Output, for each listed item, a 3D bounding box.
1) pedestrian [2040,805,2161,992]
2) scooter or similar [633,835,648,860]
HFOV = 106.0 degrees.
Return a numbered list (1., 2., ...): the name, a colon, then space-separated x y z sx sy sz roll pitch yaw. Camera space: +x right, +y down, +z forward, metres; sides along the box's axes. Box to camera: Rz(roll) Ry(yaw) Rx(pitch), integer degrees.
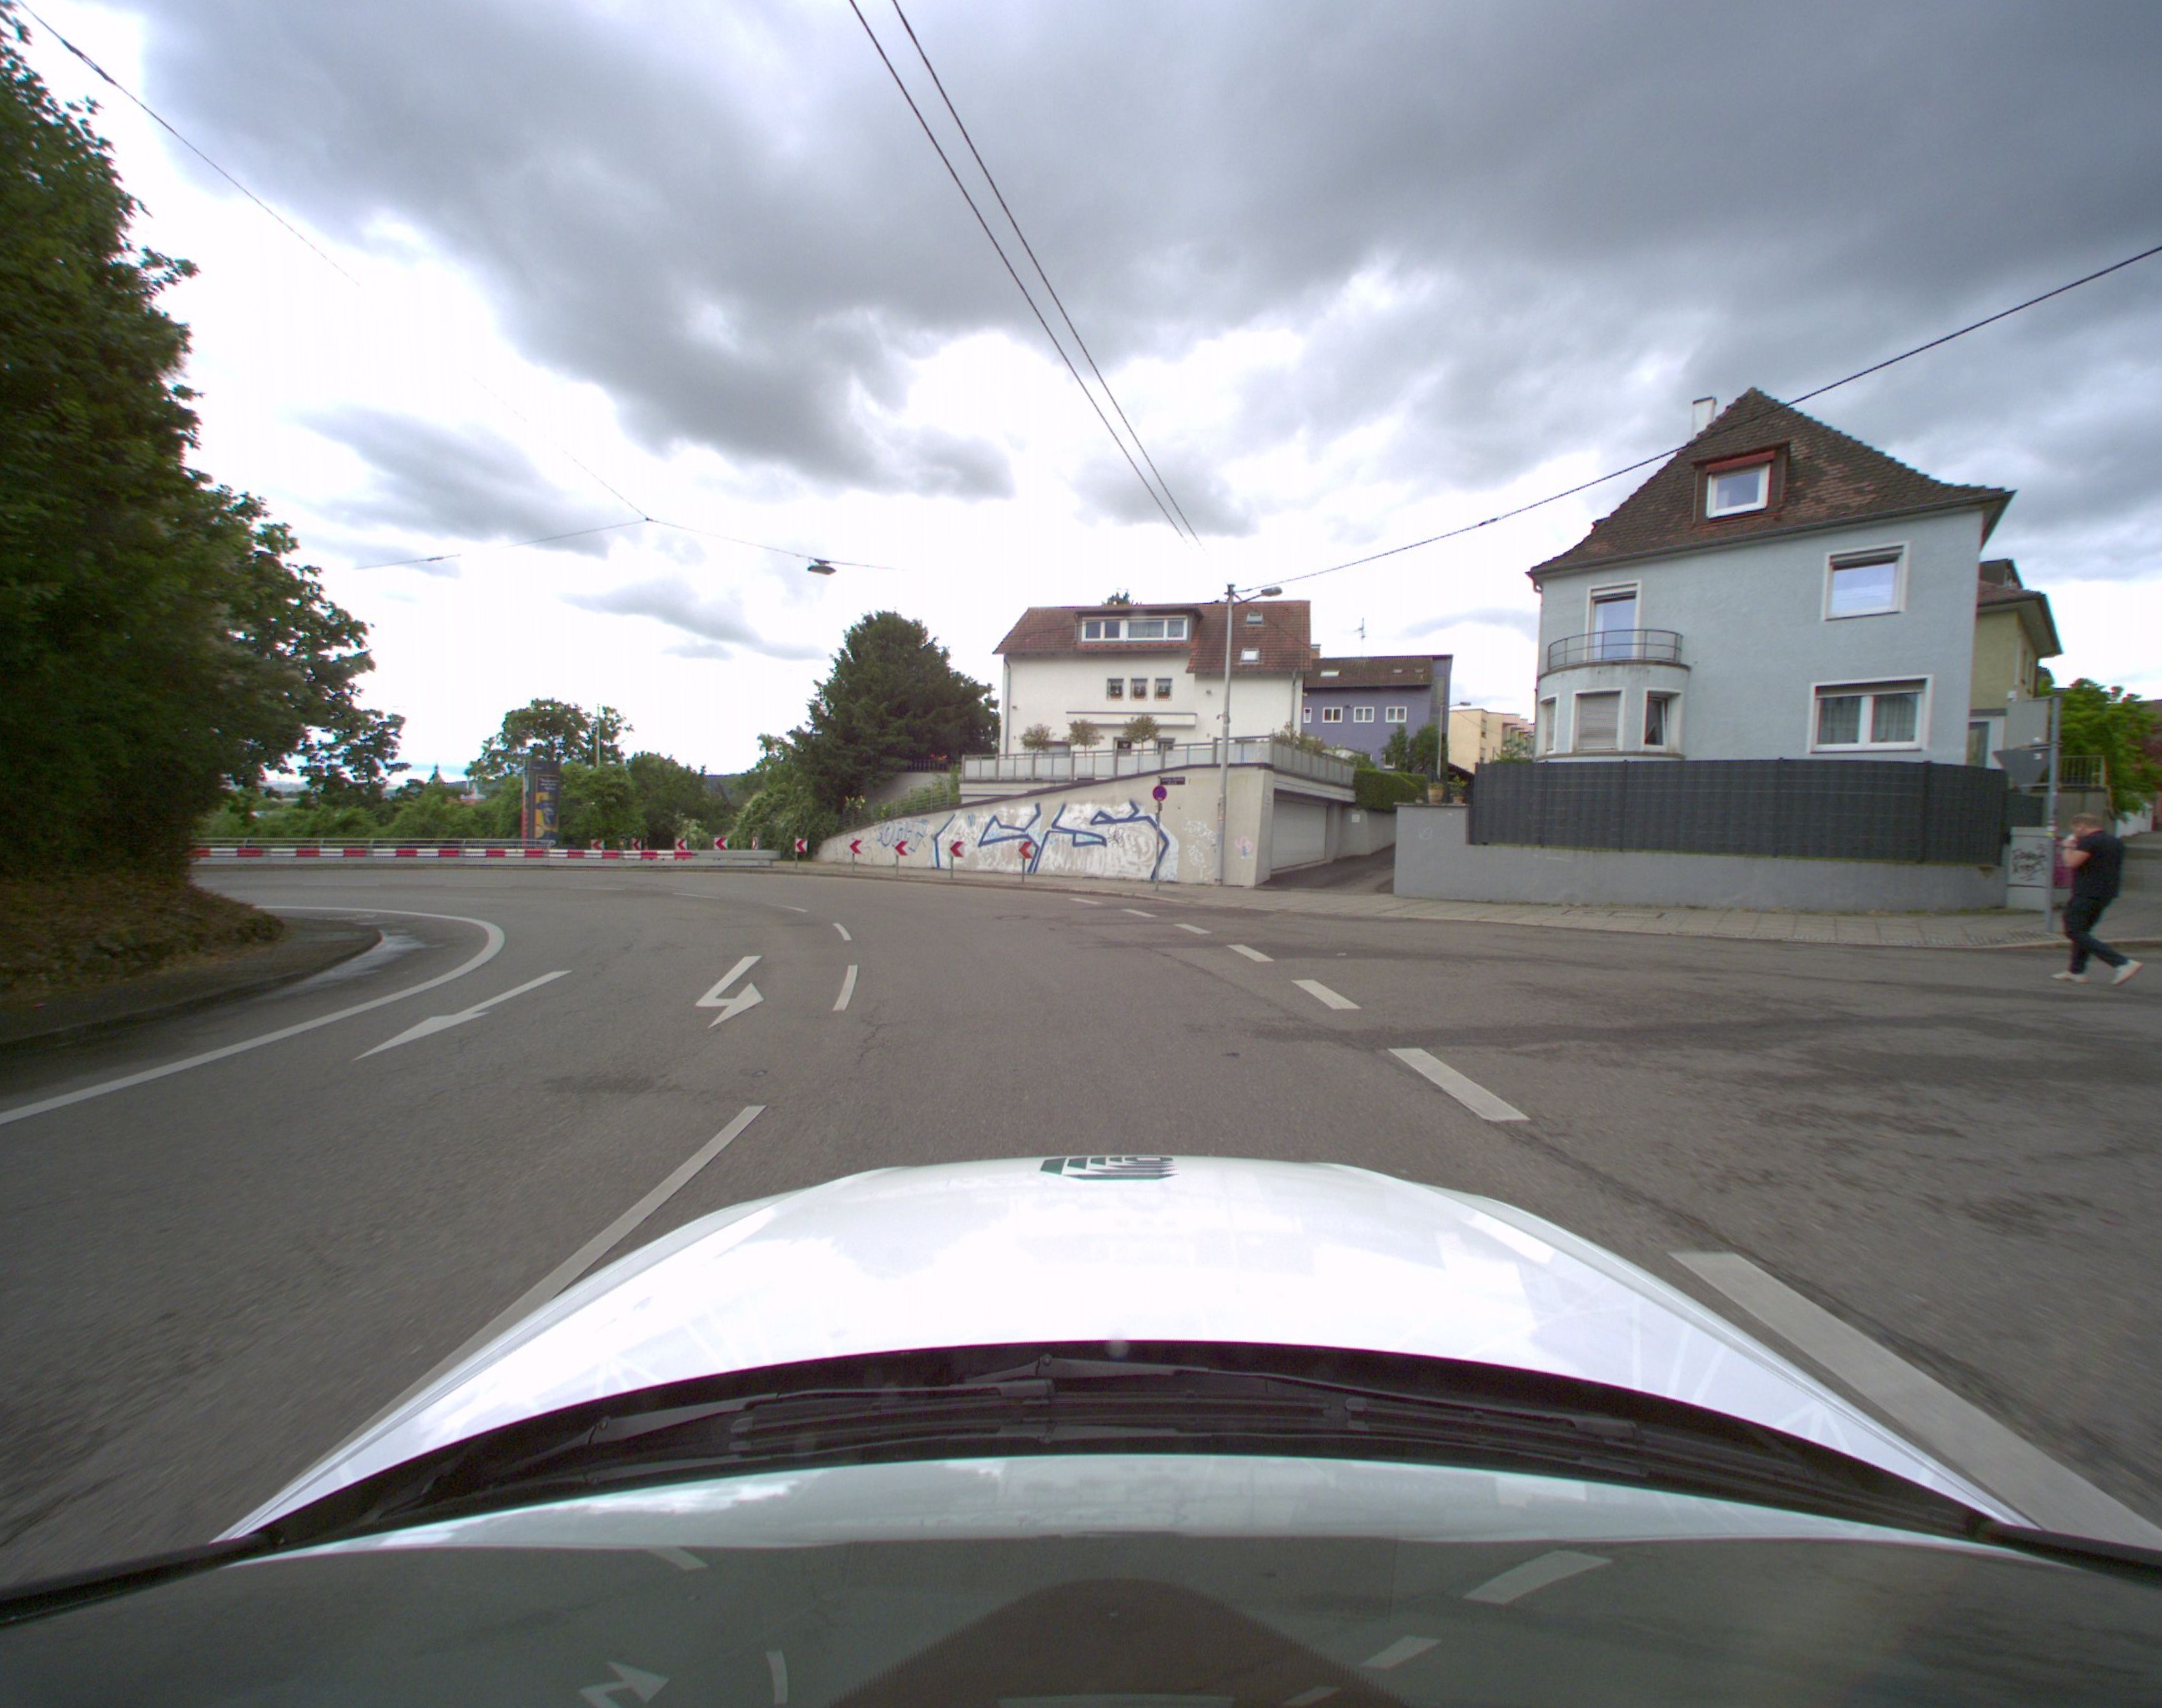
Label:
1. pedestrian: 10.803 0.416 8.414 0.571 1.828 0.983 0 2 -3
2. scooter or similar: -23.368 -0.350 43.217 0.436 1.250 1.491 0 2 -20
